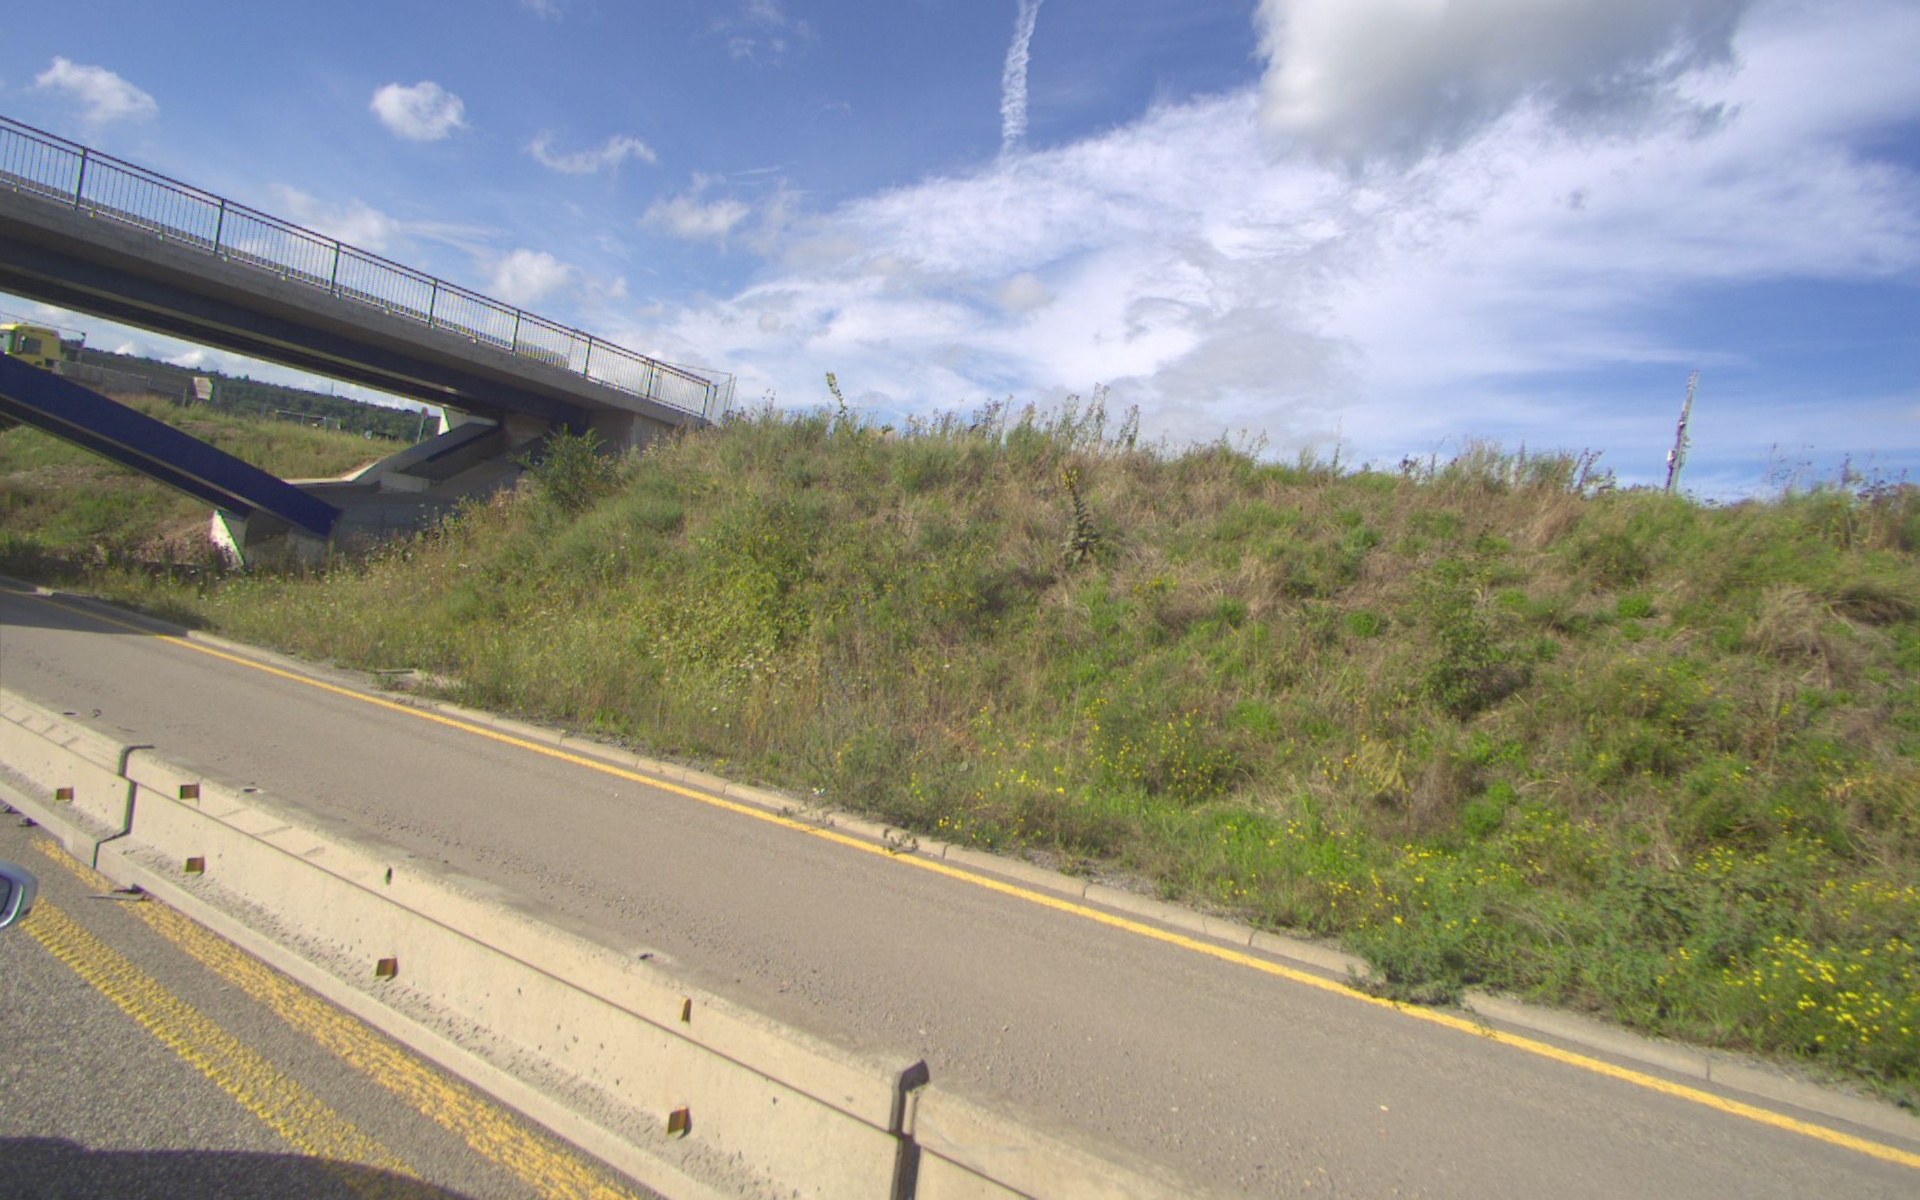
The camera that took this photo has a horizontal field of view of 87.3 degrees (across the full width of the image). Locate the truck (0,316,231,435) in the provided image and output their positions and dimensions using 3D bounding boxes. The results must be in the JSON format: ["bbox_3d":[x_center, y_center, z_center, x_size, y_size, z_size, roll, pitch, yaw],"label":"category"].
[{"bbox_3d":[-41.889,-10.818,49.383,2.911,3.266,9.277,7,-1,32],"label":"truck"}]
